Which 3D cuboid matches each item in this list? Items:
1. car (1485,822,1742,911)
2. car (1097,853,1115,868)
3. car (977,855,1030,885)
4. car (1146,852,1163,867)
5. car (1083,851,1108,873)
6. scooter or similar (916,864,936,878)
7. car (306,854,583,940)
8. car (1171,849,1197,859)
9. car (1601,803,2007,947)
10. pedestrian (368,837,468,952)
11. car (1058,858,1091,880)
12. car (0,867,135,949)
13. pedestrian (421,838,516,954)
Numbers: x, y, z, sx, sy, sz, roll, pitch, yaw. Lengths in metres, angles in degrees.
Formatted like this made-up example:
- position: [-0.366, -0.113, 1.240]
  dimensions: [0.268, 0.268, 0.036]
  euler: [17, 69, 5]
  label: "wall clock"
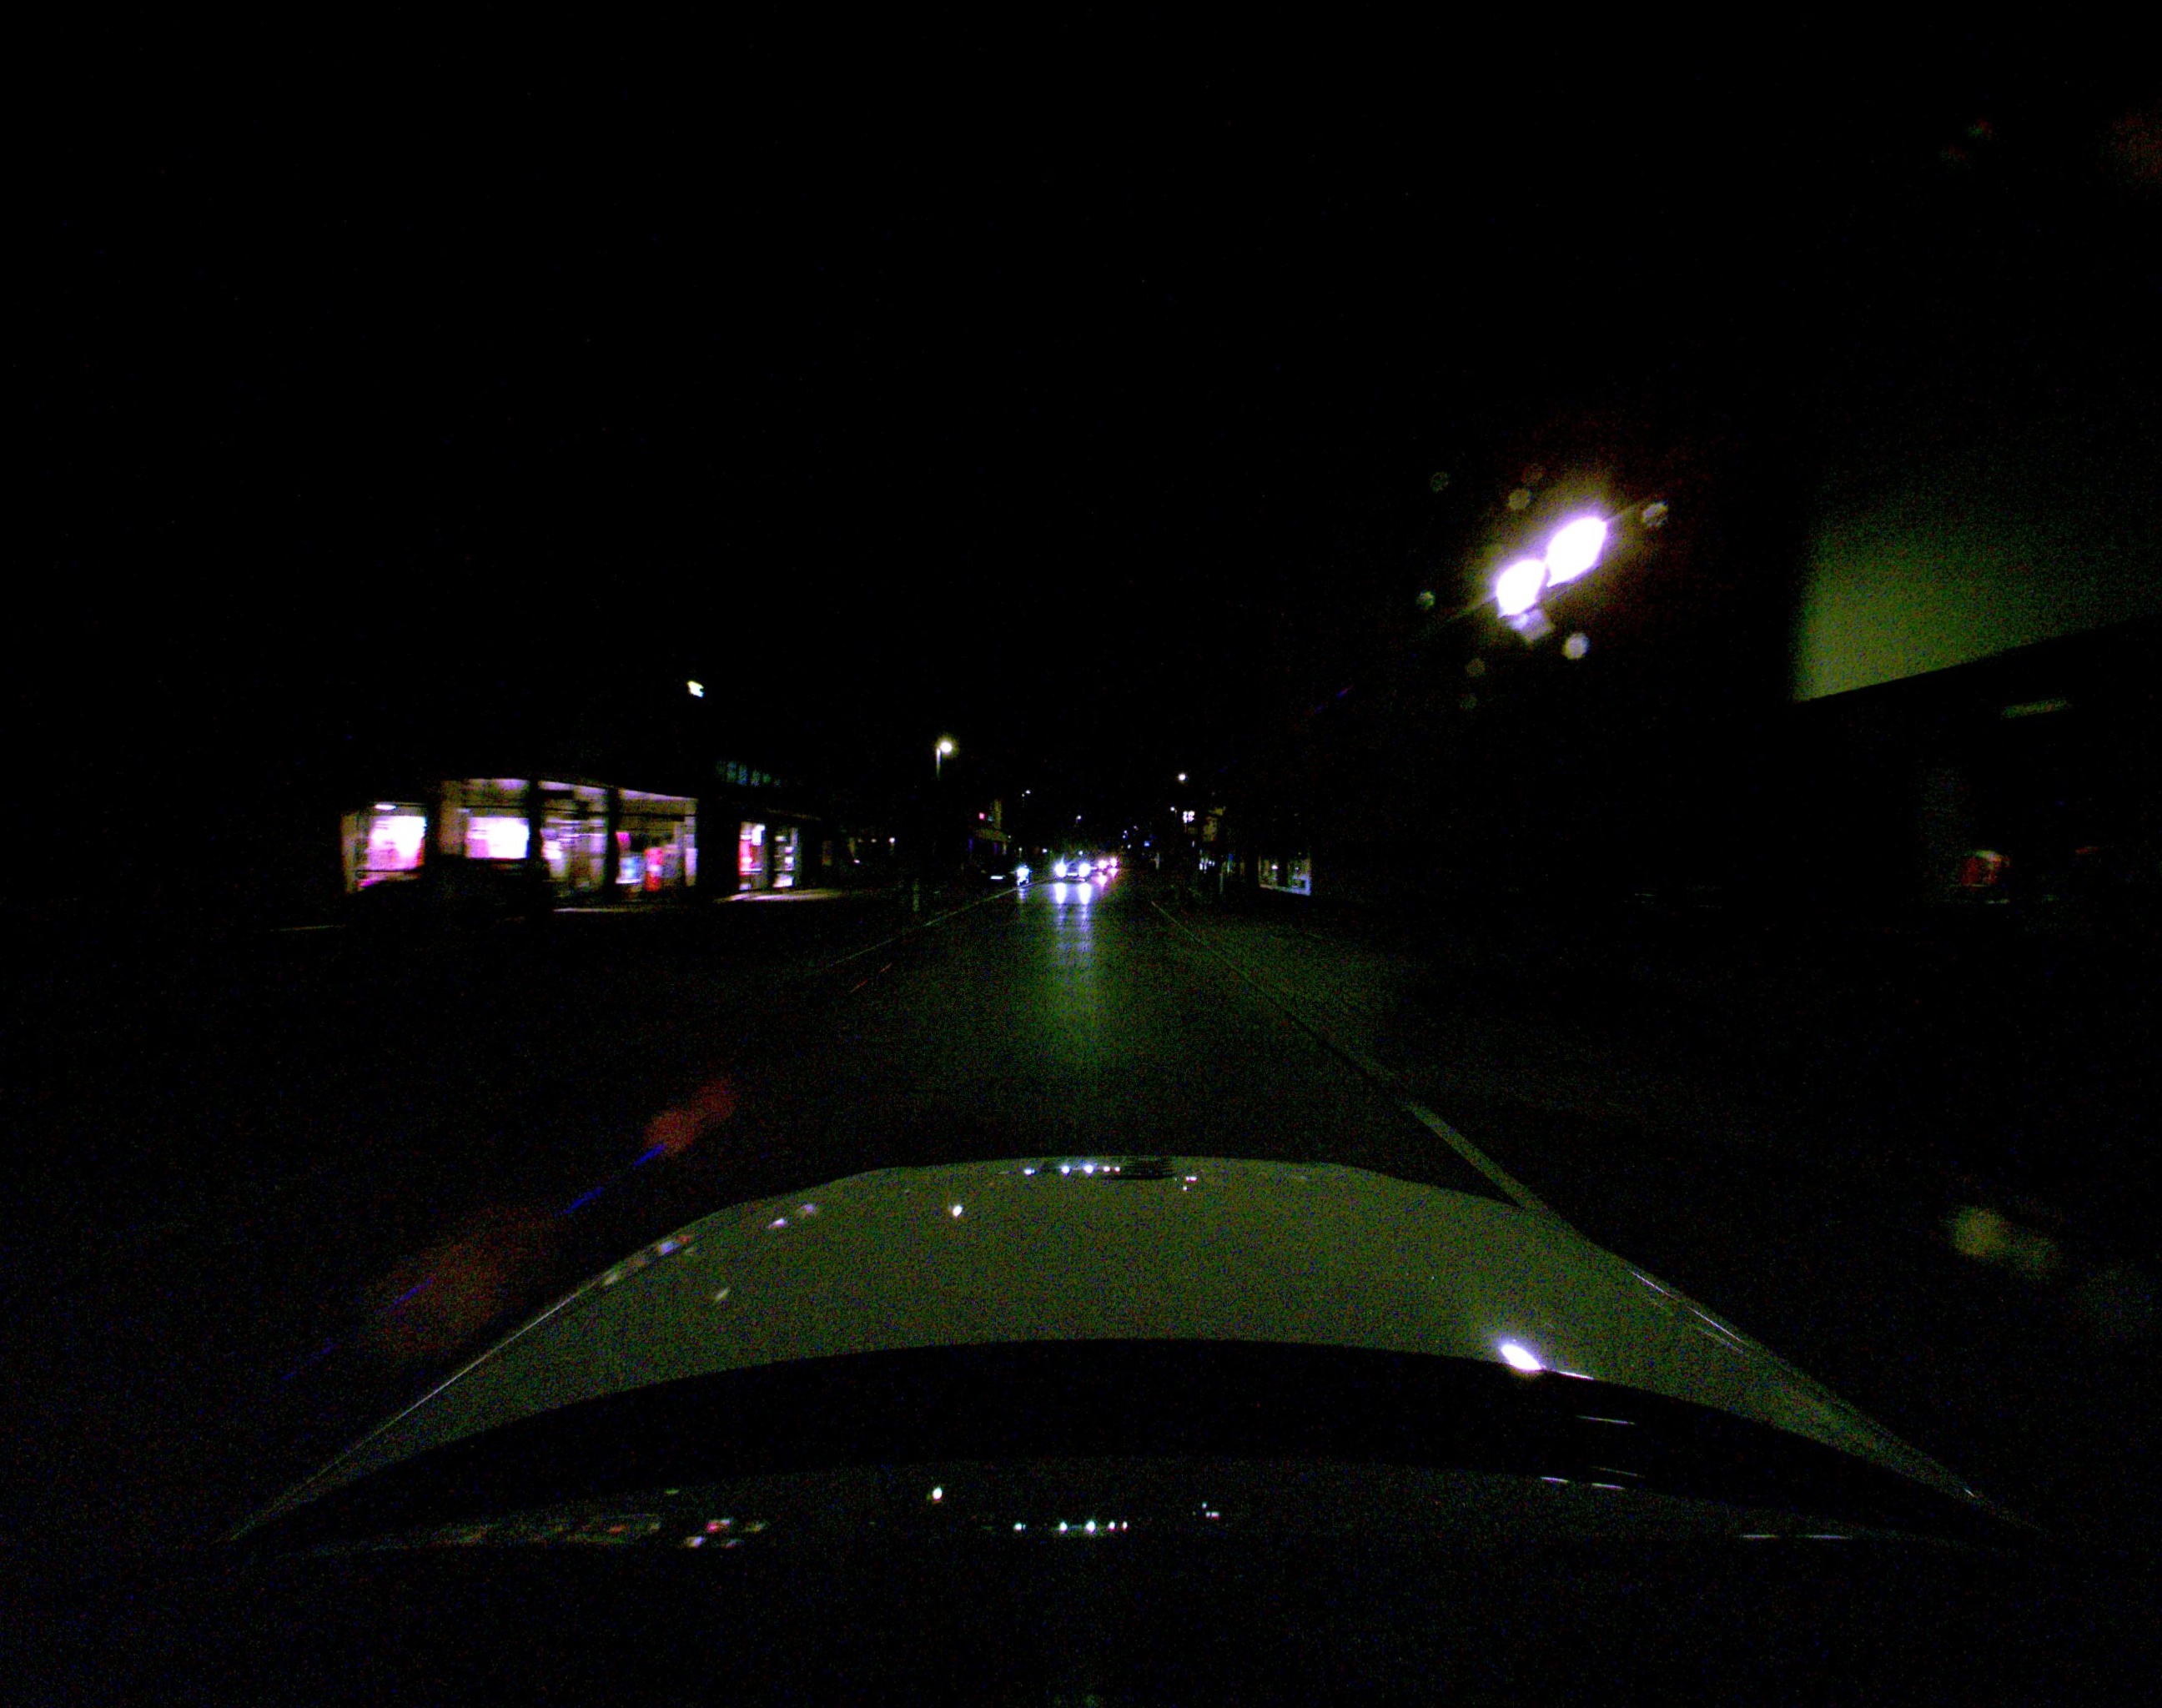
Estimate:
- position: [10.586, 0.248, 16.394]
  dimensions: [3.976, 1.476, 1.751]
  euler: [-3, -1, -1]
  label: "car"
- position: [2.713, 0.678, 87.771]
  dimensions: [1.768, 1.652, 4.368]
  euler: [0, 0, 3]
  label: "car"
- position: [-3.732, 0.740, 39.964]
  dimensions: [1.906, 1.370, 4.461]
  euler: [0, 0, 3]
  label: "car"
- position: [8.380, 0.655, 93.359]
  dimensions: [1.768, 1.652, 4.367]
  euler: [0, 0, 3]
  label: "car"
- position: [1.133, 0.600, 63.824]
  dimensions: [1.768, 1.652, 4.368]
  euler: [0, 0, 3]
  label: "car"
- position: [-9.151, 1.008, 47.989]
  dimensions: [1.092, 0.781, 0.524]
  euler: [0, 0, -1]
  label: "scooter or similar"
- position: [-12.624, 0.828, 16.316]
  dimensions: [4.148, 1.438, 1.843]
  euler: [-3, -1, 4]
  label: "car"
- position: [16.048, -0.025, 126.362]
  dimensions: [3.965, 1.416, 2.004]
  euler: [0, -2, 7]
  label: "car"
- position: [9.854, 0.253, 11.324]
  dimensions: [4.066, 1.581, 1.815]
  euler: [-4, 1, -2]
  label: "car"
- position: [-9.827, 0.575, 12.102]
  dimensions: [0.766, 1.656, 0.817]
  euler: [0, 1, 2]
  label: "pedestrian"
- position: [-0.341, 0.852, 48.157]
  dimensions: [1.716, 1.247, 4.240]
  euler: [0, 0, 3]
  label: "car"
- position: [-23.222, 1.183, 17.146]
  dimensions: [4.156, 1.622, 1.990]
  euler: [-2, -2, -2]
  label: "car"
- position: [-9.052, 0.593, 12.066]
  dimensions: [0.766, 1.656, 0.782]
  euler: [0, 1, 2]
  label: "pedestrian"
